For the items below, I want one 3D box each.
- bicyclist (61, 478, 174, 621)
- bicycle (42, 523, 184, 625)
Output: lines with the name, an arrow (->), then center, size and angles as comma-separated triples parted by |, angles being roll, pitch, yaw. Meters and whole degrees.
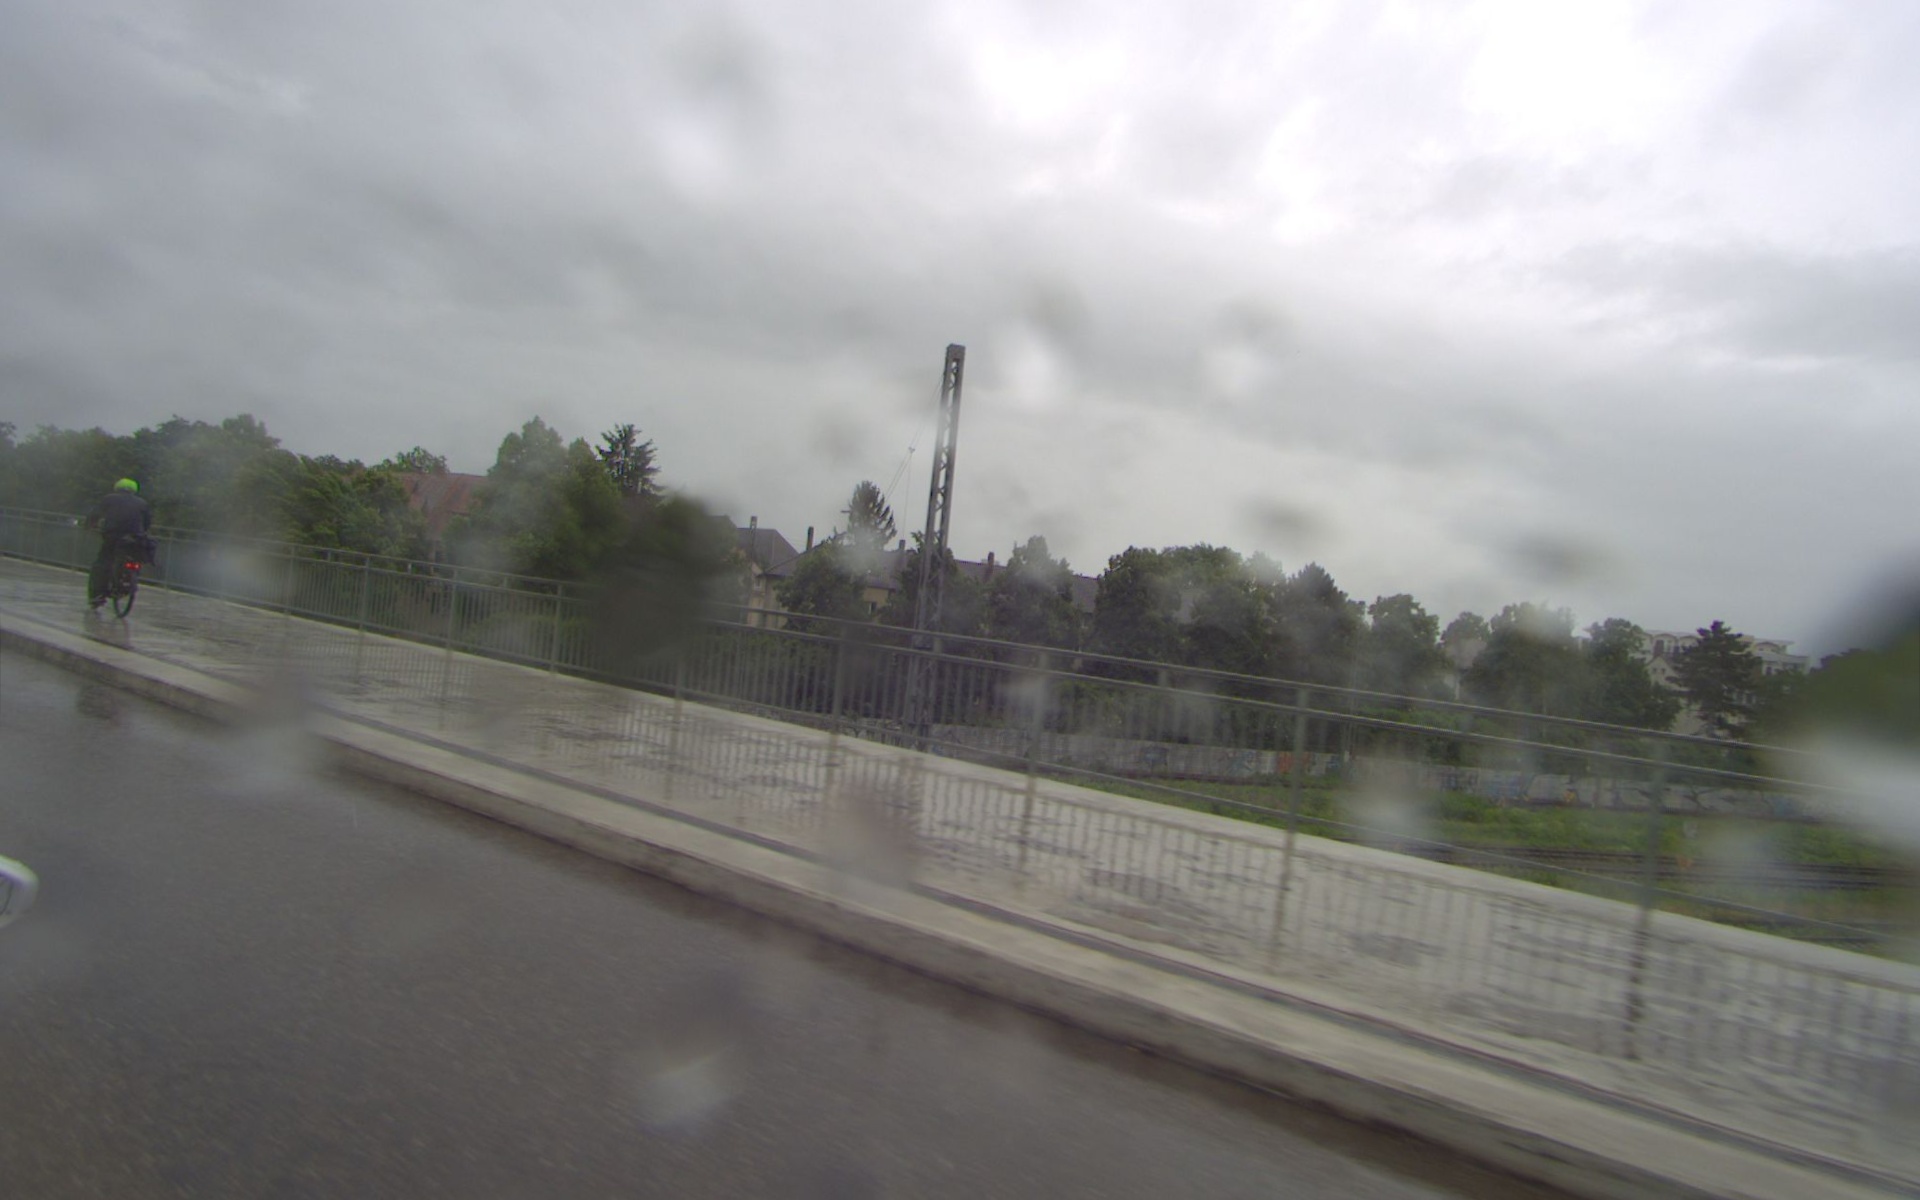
bicyclist -> -11.298, -0.670, 13.494 | 0.934, 1.783, 0.727 | 5, -3, 32
bicycle -> -11.409, -0.366, 13.530 | 2.132, 1.141, 0.725 | 5, -3, 32
